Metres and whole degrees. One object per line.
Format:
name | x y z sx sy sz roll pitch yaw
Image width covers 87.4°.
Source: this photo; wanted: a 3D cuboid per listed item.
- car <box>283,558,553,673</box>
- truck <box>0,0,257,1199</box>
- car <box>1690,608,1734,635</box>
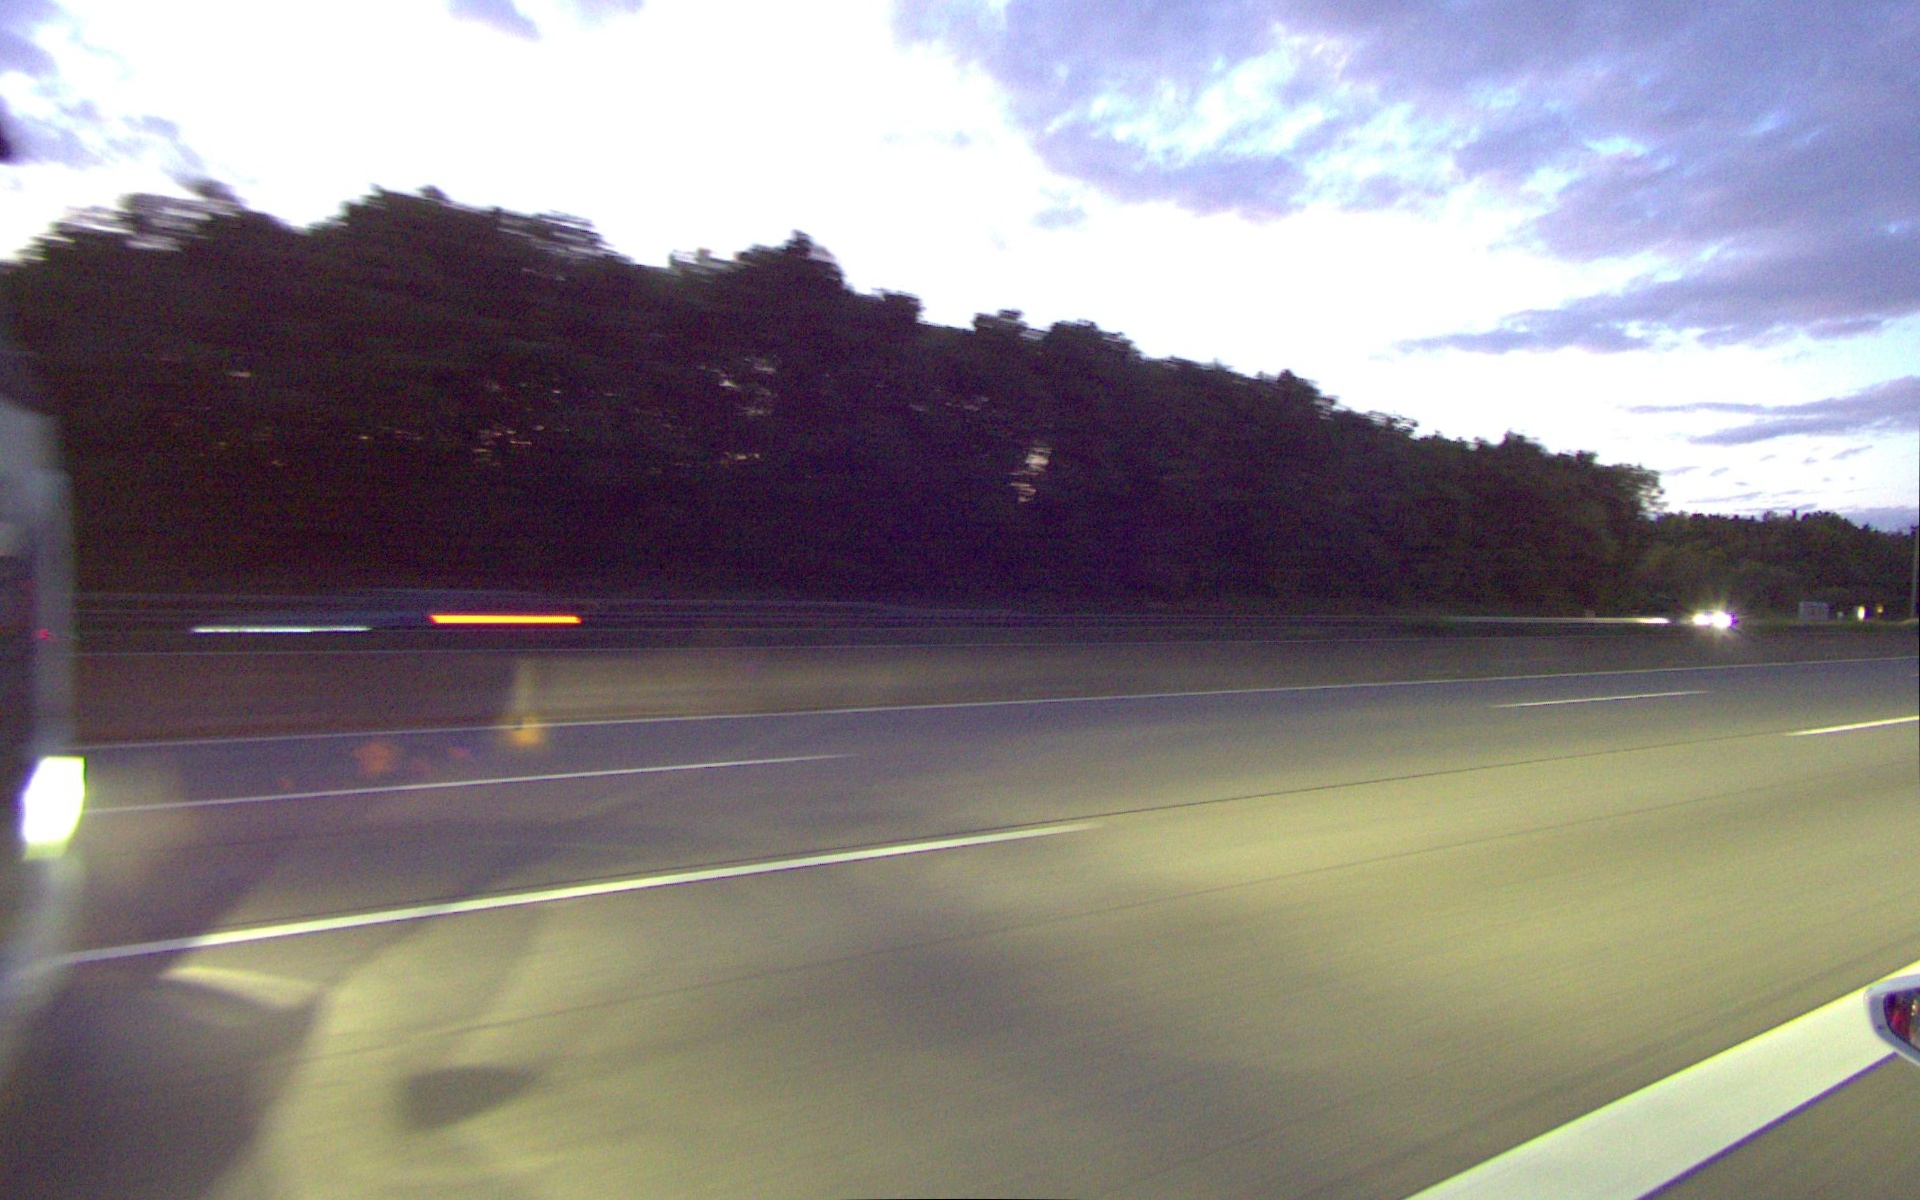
car | -10.558 0.324 19.834 4.441 2.040 1.984 2 0 -29
truck | -4.655 -0.556 1.104 6.083 3.954 2.765 1 0 -31
car | 60.809 1.697 81.322 1.963 2.040 5.004 2 0 27
